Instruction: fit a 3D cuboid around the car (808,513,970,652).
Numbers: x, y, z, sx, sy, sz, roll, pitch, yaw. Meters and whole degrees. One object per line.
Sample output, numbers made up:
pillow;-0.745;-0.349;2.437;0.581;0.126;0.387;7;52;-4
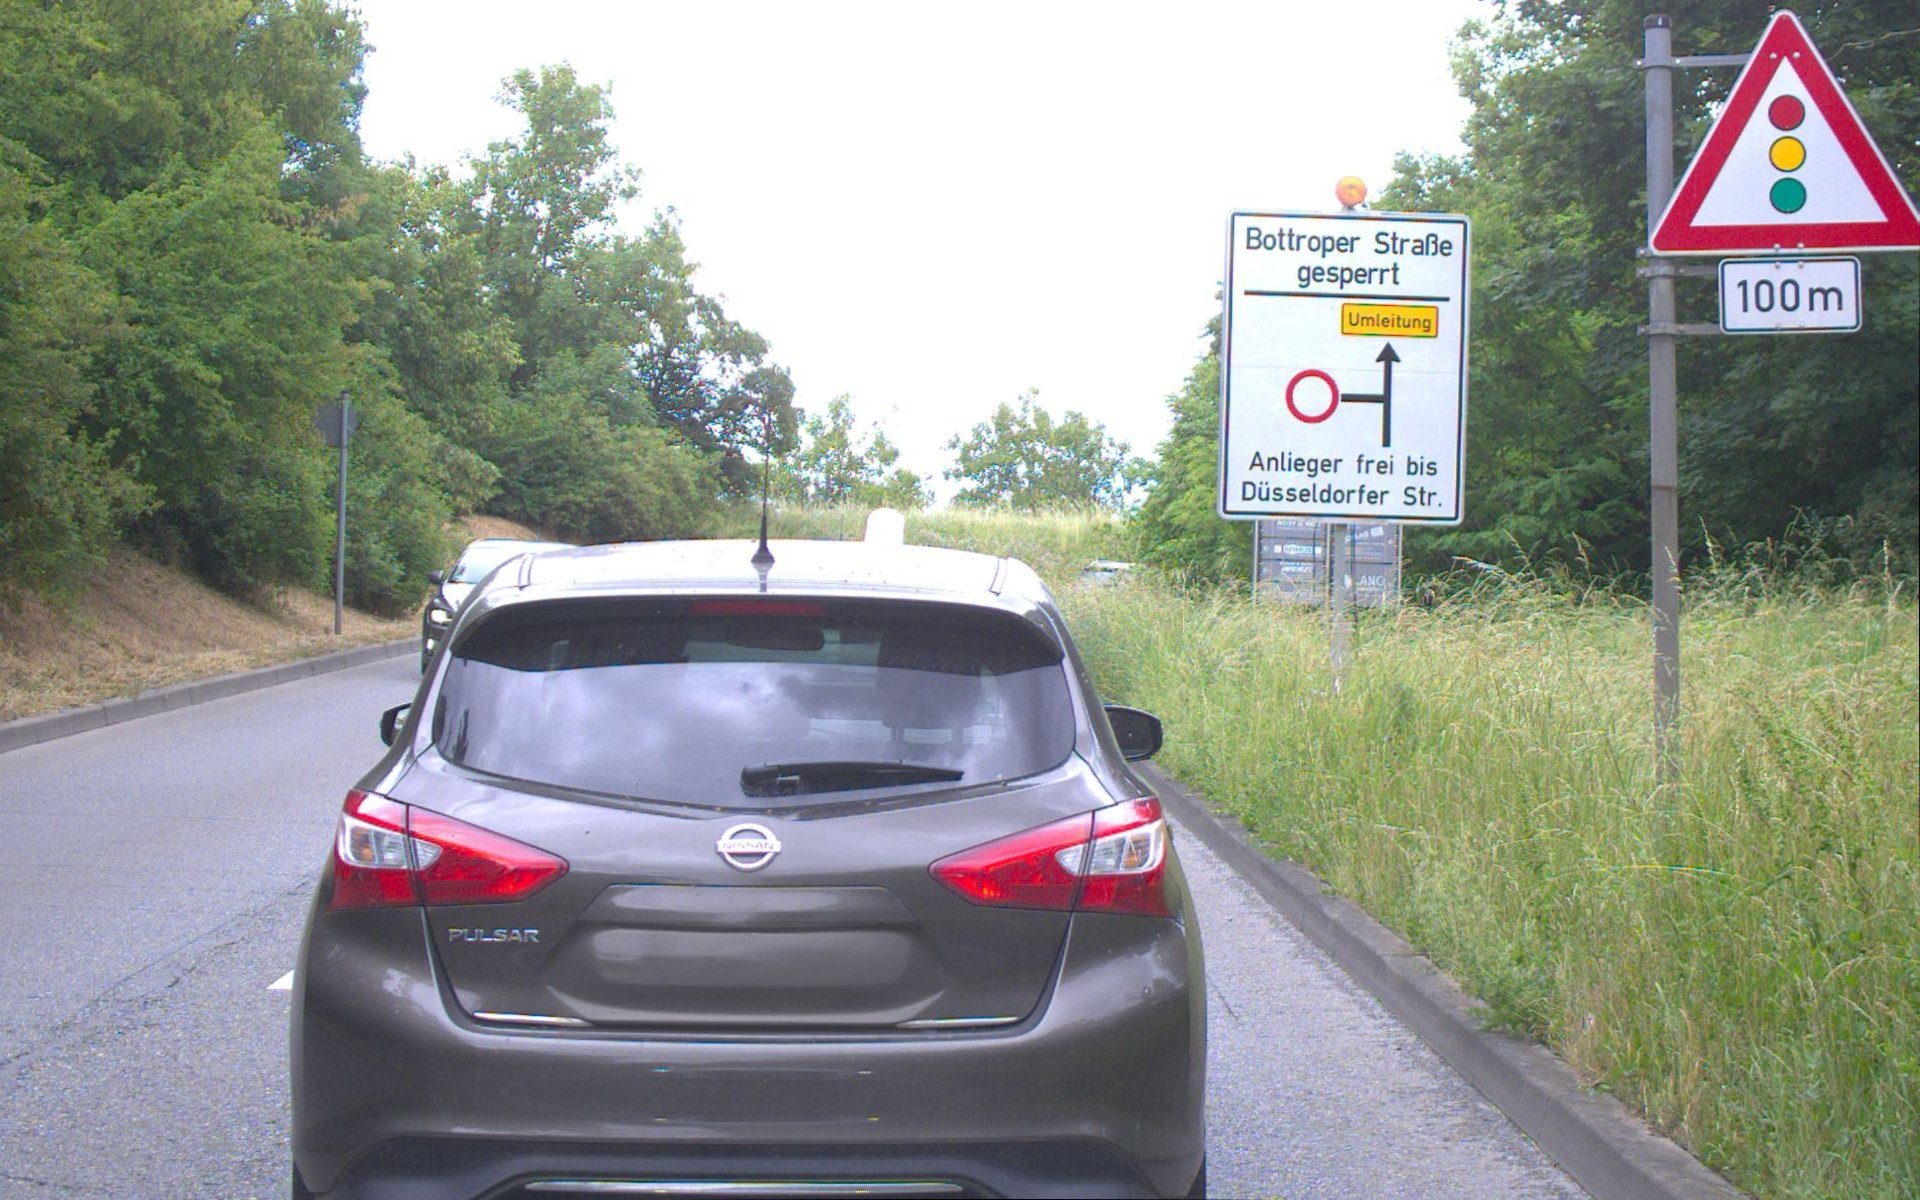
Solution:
car;-0.987;-0.279;49.564;1.736;1.928;3.542;0;1;9

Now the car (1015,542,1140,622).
car;2.345;-0.375;68.021;1.737;1.521;3.541;0;1;15

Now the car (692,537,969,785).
car;-0.821;0.351;23.360;1.736;1.551;3.543;0;1;0

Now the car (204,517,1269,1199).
car;-0.450;0.607;7.687;1.830;1.551;3.500;0;1;-2

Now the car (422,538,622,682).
car;-4.476;0.066;35.570;1.642;1.395;3.822;0;1;-1

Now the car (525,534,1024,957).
car;-0.691;0.503;14.477;1.830;1.551;3.625;0;1;0

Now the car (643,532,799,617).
car;-4.277;-0.446;62.038;1.643;1.395;3.819;4;1;14

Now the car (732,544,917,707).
car;-1.324;0.214;34.778;1.736;1.551;3.543;0;1;0
